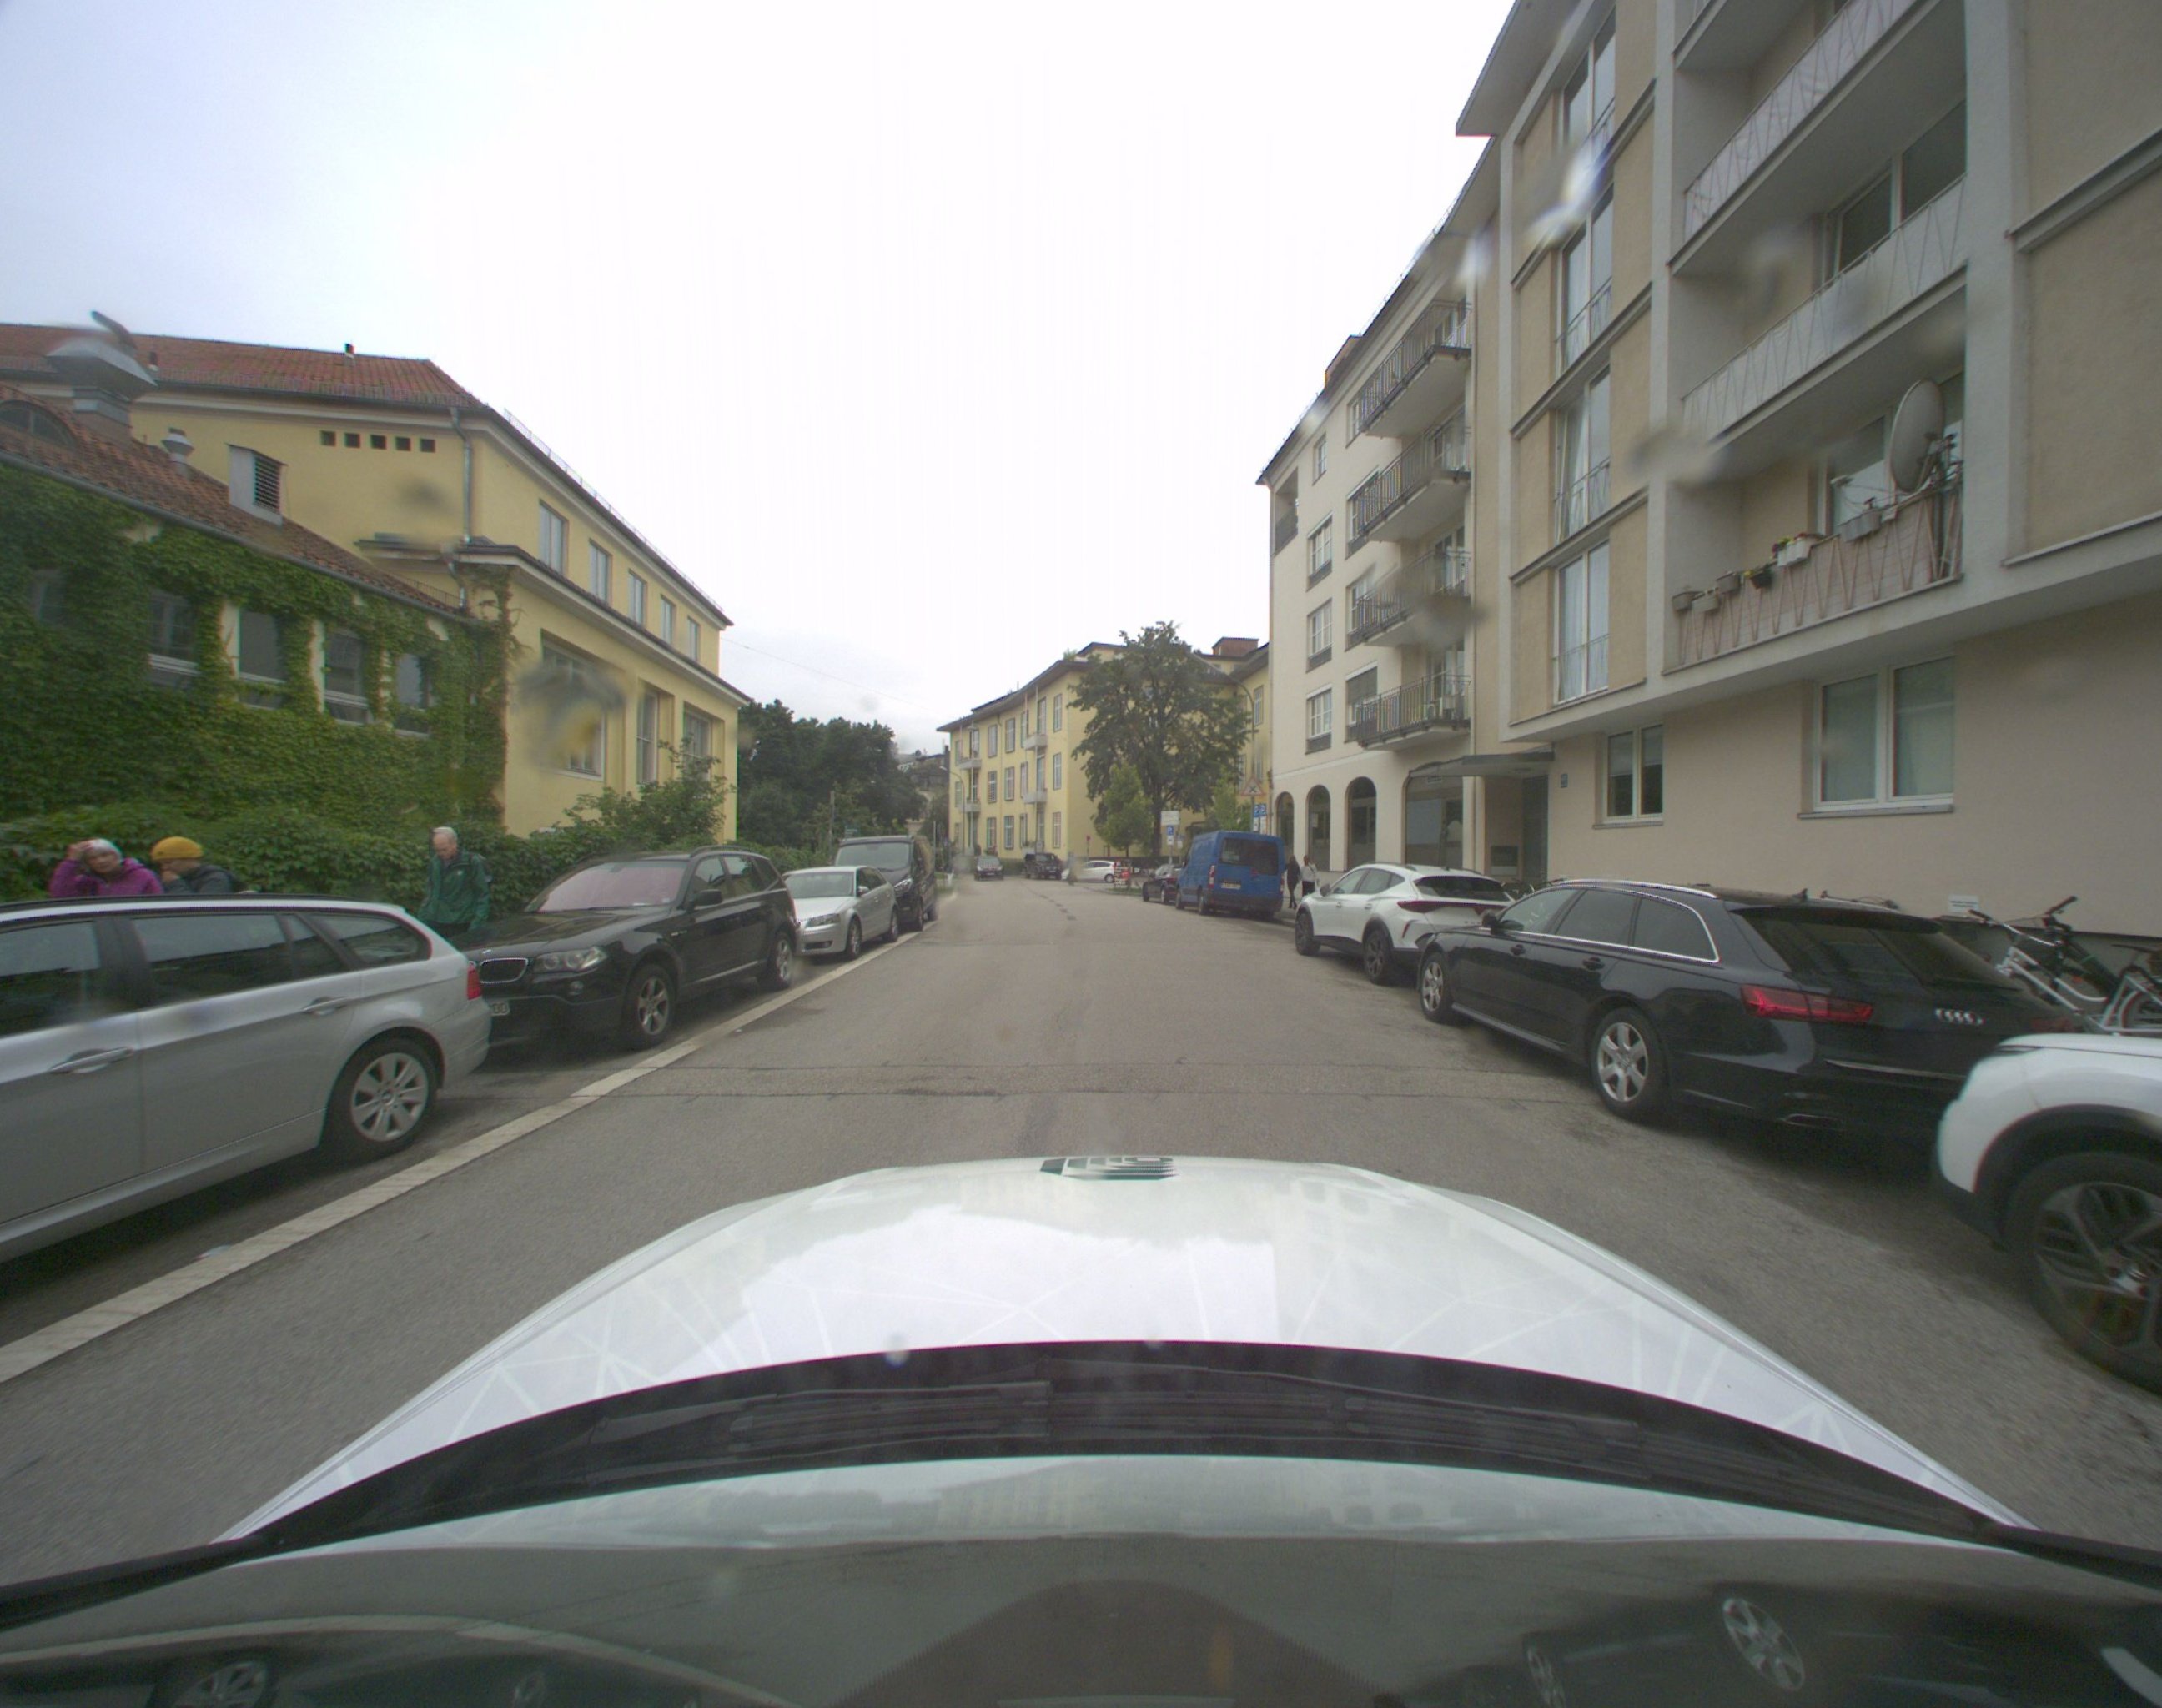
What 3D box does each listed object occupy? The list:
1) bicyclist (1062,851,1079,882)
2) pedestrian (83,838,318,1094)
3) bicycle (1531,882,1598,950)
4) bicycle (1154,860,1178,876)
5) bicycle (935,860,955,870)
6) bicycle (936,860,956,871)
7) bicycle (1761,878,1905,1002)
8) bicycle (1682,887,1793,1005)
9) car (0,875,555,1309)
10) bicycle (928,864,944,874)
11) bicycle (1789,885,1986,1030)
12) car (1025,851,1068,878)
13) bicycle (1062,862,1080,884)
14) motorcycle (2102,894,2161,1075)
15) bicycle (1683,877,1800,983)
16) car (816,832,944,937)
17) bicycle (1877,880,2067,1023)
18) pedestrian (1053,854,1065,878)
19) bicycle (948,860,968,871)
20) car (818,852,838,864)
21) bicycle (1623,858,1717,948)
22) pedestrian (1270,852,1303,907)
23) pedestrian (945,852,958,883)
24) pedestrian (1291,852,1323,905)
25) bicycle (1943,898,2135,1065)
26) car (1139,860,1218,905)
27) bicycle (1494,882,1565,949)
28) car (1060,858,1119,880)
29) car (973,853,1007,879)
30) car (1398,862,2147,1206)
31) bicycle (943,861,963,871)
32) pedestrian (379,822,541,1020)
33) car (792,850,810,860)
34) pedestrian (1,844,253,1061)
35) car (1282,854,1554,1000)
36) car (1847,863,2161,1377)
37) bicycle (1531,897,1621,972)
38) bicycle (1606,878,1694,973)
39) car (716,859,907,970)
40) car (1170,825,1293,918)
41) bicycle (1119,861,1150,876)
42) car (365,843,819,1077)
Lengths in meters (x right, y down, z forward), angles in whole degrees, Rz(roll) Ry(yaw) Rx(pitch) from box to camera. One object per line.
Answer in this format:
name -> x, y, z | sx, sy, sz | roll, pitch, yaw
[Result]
bicyclist -> -0.595, 0.686, 47.059 | 0.911, 1.764, 1.215 | 0, 0, 1
pedestrian -> -6.076, 0.718, 5.680 | 0.680, 1.652, 0.872 | 0, 0, 1
bicycle -> 8.631, 1.084, 14.587 | 0.367, 1.101, 1.347 | -3, -1, 2
bicycle -> 6.232, 1.036, 59.661 | 1.681, 1.130, 0.459 | 0, 0, -8
bicycle -> -13.834, 1.147, 82.739 | 1.989, 1.029, 0.611 | 1, -1, -44
bicycle -> -13.492, 1.147, 81.713 | 1.989, 1.029, 0.611 | 1, -1, -44
bicycle -> 8.166, 0.891, 8.907 | 0.415, 1.202, 1.287 | -3, -1, 6
bicycle -> 7.675, 1.034, 9.584 | 0.394, 1.202, 1.574 | -4, -1, 17
car -> -4.517, 0.896, 3.175 | 1.797, 1.377, 4.493 | -5, 0, 2
bicycle -> -15.003, 1.541, 84.268 | 0.527, 1.029, 1.989 | 0, -1, 26
bicycle -> 7.663, 0.933, 7.824 | 0.445, 1.202, 1.370 | -3, -1, -1
car -> -2.579, 0.754, 60.252 | 1.880, 1.887, 4.587 | 0, 0, -20
bicycle -> -0.577, 1.080, 47.070 | 0.917, 1.252, 2.322 | 0, 0, 1
motorcycle -> 8.026, 0.935, 5.125 | 0.633, 1.271, 2.041 | -1, 0, 1
bicycle -> 8.368, 0.922, 10.383 | 0.444, 1.202, 1.397 | -3, -1, 8
car -> -4.367, 0.590, 18.434 | 1.921, 1.979, 4.616 | -3, 0, -4
bicycle -> 8.455, 0.879, 7.803 | 0.390, 1.202, 1.344 | -3, -1, 7
pedestrian -> -1.614, 0.880, 60.274 | 0.847, 1.757, 0.952 | -1, 0, -5
bicycle -> -12.148, 1.141, 80.358 | 1.989, 1.029, 0.611 | 1, -1, -44
car -> -36.672, 0.532, 117.970 | 1.805, 1.680, 3.960 | 0, 0, -32
bicycle -> 8.507, 0.673, 11.817 | 0.444, 1.202, 1.397 | -3, -1, 8
pedestrian -> 6.298, 0.770, 25.010 | 0.678, 1.628, 0.827 | -1, -1, -8
pedestrian -> -7.143, 0.725, 44.941 | 0.543, 1.697, 0.662 | -2, 0, -18
pedestrian -> 6.987, 0.734, 25.173 | 0.710, 1.605, 0.698 | -1, 0, -6
bicycle -> 7.848, 1.010, 6.677 | 1.339, 1.202, 0.392 | -3, -1, -13
car -> 3.440, 0.974, 29.485 | 1.714, 1.395, 3.987 | 4, -1, -10
bicycle -> 7.974, 1.069, 14.537 | 0.390, 1.101, 1.345 | -3, -1, -4
car -> 0.562, 0.993, 53.818 | 3.694, 1.406, 1.757 | 0, 0, 8
car -> -6.456, 0.824, 57.459 | 1.994, 1.719, 4.597 | 0, 0, -11
car -> 4.184, 0.870, 6.205 | 1.765, 1.429, 4.696 | 5, 0, 2
bicycle -> -12.678, 1.166, 80.885 | 1.989, 1.029, 0.611 | 1, -1, -44
pedestrian -> -5.792, 0.590, 7.651 | 0.839, 1.755, 0.873 | 0, 0, 2
car -> -48.624, 0.163, 141.475 | 2.007, 1.600, 4.212 | 0, 0, -32
pedestrian -> -7.021, 0.673, 6.050 | 0.839, 1.494, 0.873 | 0, 0, 3
car -> 4.463, 0.855, 11.605 | 1.772, 1.522, 4.298 | 4, 0, -4
car -> 4.003, 0.833, 1.262 | 1.696, 1.468, 4.119 | 4, 0, 0
bicycle -> 8.054, 1.280, 13.308 | 0.395, 1.101, 1.295 | -3, -1, -15
bicycle -> 7.932, 0.960, 11.400 | 0.410, 1.202, 1.285 | -3, -1, 8
car -> -4.175, 0.857, 13.322 | 1.701, 1.365, 4.001 | -4, 1, 0
car -> 4.133, 0.530, 23.311 | 2.105, 2.214, 5.019 | 5, -2, -4
bicycle -> 3.931, 1.044, 59.859 | 2.154, 1.115, 0.642 | 0, 0, 9
car -> -4.268, 0.758, 8.155 | 1.696, 1.606, 4.491 | -3, 0, 1
